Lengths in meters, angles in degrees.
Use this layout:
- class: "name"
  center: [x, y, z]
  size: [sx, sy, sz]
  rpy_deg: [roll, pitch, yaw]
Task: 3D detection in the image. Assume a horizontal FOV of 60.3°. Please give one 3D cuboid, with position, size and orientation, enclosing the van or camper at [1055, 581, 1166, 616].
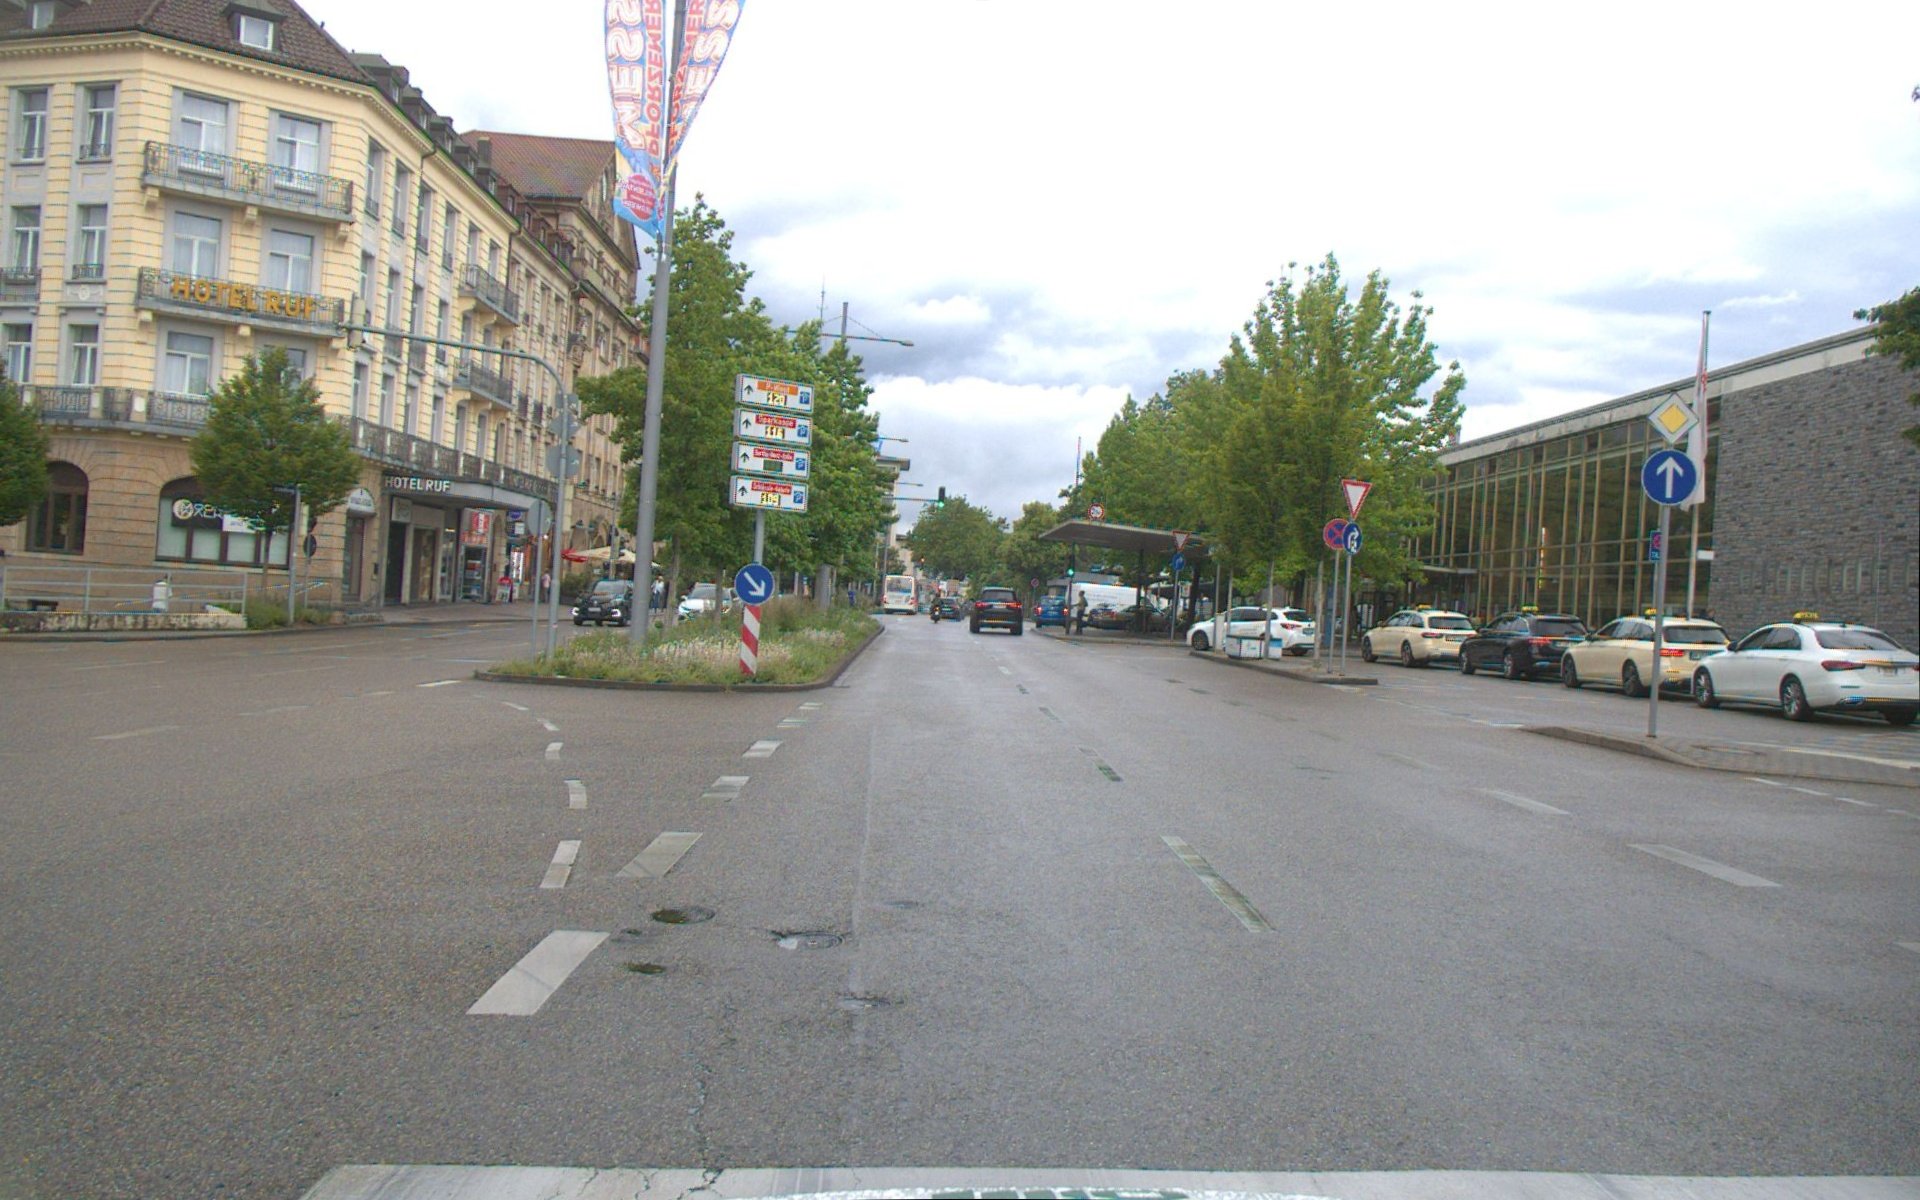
- class: "van or camper"
  center: [9.409, -0.084, 102.971]
  size: [6.675, 2.049, 2.364]
  rpy_deg: [1, -1, -27]

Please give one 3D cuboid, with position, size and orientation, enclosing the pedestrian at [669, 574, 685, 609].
- class: "pedestrian"
  center: [-14.350, -0.427, 83.774]
  size: [0.661, 1.731, 0.633]
  rpy_deg: [1, 0, -1]

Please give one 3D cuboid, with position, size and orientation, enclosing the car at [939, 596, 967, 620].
- class: "car"
  center: [-0.476, 0.477, 103.736]
  size: [1.673, 1.473, 3.999]
  rpy_deg: [1, 0, -1]

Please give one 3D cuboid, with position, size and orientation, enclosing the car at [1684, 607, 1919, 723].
- class: "car"
  center: [13.374, 0.947, 26.060]
  size: [1.739, 1.617, 4.614]
  rpy_deg: [1, 0, -2]

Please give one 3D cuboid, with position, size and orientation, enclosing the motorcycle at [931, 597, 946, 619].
- class: "motorcycle"
  center: [-1.126, 0.409, 86.125]
  size: [0.750, 1.095, 2.175]
  rpy_deg: [2, 0, -1]

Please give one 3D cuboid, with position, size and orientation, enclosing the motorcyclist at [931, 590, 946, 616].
- class: "motorcyclist"
  center: [-1.113, 0.151, 86.142]
  size: [0.749, 1.355, 0.866]
  rpy_deg: [2, 0, -1]

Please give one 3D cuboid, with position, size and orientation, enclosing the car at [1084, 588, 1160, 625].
- class: "car"
  center: [9.481, 0.365, 96.784]
  size: [3.929, 2.049, 1.988]
  rpy_deg: [1, 0, -21]

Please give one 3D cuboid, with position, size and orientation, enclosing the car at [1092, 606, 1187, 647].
- class: "car"
  center: [8.947, 1.305, 82.392]
  size: [4.273, 1.890, 1.988]
  rpy_deg: [2, 0, -21]

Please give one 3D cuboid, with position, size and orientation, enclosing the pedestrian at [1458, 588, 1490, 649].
- class: "pedestrian"
  center: [17.421, 0.630, 56.030]
  size: [0.754, 2.049, 0.828]
  rpy_deg: [1, 0, -3]

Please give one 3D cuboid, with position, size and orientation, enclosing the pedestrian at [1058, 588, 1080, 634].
- class: "pedestrian"
  center: [4.394, 0.447, 66.619]
  size: [0.705, 1.822, 0.663]
  rpy_deg: [2, 0, -12]

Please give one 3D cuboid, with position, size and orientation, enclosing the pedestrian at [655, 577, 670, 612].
- class: "pedestrian"
  center: [-15.055, -0.285, 83.682]
  size: [0.563, 1.762, 0.609]
  rpy_deg: [2, 0, -1]

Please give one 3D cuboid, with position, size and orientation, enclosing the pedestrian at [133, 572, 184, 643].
- class: "pedestrian"
  center: [-22.082, 0.197, 45.596]
  size: [0.845, 1.911, 1.022]
  rpy_deg: [2, 0, -1]

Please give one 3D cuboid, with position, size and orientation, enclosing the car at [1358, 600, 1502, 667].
- class: "car"
  center: [12.553, 0.851, 44.474]
  size: [1.956, 1.628, 4.814]
  rpy_deg: [1, 0, -8]

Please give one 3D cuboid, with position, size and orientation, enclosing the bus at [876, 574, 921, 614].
- class: "bus"
  center: [-5.497, -0.534, 144.590]
  size: [3.685, 3.265, 15.516]
  rpy_deg: [1, 0, -3]

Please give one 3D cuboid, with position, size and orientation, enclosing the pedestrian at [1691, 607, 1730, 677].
- class: "pedestrian"
  center: [18.206, 1.018, 40.147]
  size: [0.553, 1.675, 0.715]
  rpy_deg: [1, 0, -6]

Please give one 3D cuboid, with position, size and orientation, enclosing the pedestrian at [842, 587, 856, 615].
- class: "pedestrian"
  center: [-7.032, 0.046, 104.860]
  size: [0.742, 1.730, 0.560]
  rpy_deg: [2, 0, 6]

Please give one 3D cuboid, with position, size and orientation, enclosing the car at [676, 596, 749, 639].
- class: "car"
  center: [-8.669, 0.597, 58.328]
  size: [1.688, 1.406, 4.861]
  rpy_deg: [1, 0, 2]

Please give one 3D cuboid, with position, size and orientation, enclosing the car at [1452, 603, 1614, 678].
- class: "car"
  center: [13.054, 0.885, 37.997]
  size: [1.875, 1.551, 4.740]
  rpy_deg: [1, 0, -3]

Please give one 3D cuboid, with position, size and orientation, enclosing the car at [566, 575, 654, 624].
- class: "car"
  center: [-11.967, -0.016, 56.781]
  size: [1.734, 1.557, 4.081]
  rpy_deg: [1, 0, 6]

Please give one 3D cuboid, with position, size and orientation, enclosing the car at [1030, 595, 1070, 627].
- class: "car"
  center: [4.625, 0.546, 85.457]
  size: [1.779, 1.557, 3.999]
  rpy_deg: [1, 0, -1]

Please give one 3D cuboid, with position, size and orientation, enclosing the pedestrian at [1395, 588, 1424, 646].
- class: "pedestrian"
  center: [16.123, 0.595, 59.386]
  size: [0.754, 2.049, 0.828]
  rpy_deg: [1, 0, -3]

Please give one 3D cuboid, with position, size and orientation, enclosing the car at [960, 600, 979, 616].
- class: "car"
  center: [0.859, 0.759, 157.584]
  size: [1.673, 1.500, 3.999]
  rpy_deg: [1, 0, -1]

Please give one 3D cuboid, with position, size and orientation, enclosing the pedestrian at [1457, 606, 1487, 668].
- class: "pedestrian"
  center: [14.796, 1.062, 47.783]
  size: [0.553, 1.739, 0.715]
  rpy_deg: [2, 0, -6]

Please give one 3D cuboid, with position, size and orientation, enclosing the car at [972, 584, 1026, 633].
- class: "car"
  center: [1.513, 0.311, 66.067]
  size: [1.953, 1.837, 4.689]
  rpy_deg: [1, 0, -1]

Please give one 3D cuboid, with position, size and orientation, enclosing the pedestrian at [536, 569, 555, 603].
- class: "pedestrian"
  center: [-18.676, -0.638, 74.506]
  size: [0.656, 1.537, 0.512]
  rpy_deg: [1, 0, -39]

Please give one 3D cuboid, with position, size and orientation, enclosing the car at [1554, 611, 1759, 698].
- class: "car"
  center: [13.244, 0.990, 31.776]
  size: [1.809, 1.477, 4.664]
  rpy_deg: [1, 0, -2]

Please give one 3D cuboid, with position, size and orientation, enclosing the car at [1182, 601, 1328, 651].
- class: "car"
  center: [9.096, 0.793, 51.189]
  size: [1.764, 1.409, 4.303]
  rpy_deg: [1, 0, -41]

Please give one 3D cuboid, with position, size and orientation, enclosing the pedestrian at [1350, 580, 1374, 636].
- class: "pedestrian"
  center: [17.913, 0.353, 73.789]
  size: [0.825, 2.453, 0.862]
  rpy_deg: [1, 0, 1]
